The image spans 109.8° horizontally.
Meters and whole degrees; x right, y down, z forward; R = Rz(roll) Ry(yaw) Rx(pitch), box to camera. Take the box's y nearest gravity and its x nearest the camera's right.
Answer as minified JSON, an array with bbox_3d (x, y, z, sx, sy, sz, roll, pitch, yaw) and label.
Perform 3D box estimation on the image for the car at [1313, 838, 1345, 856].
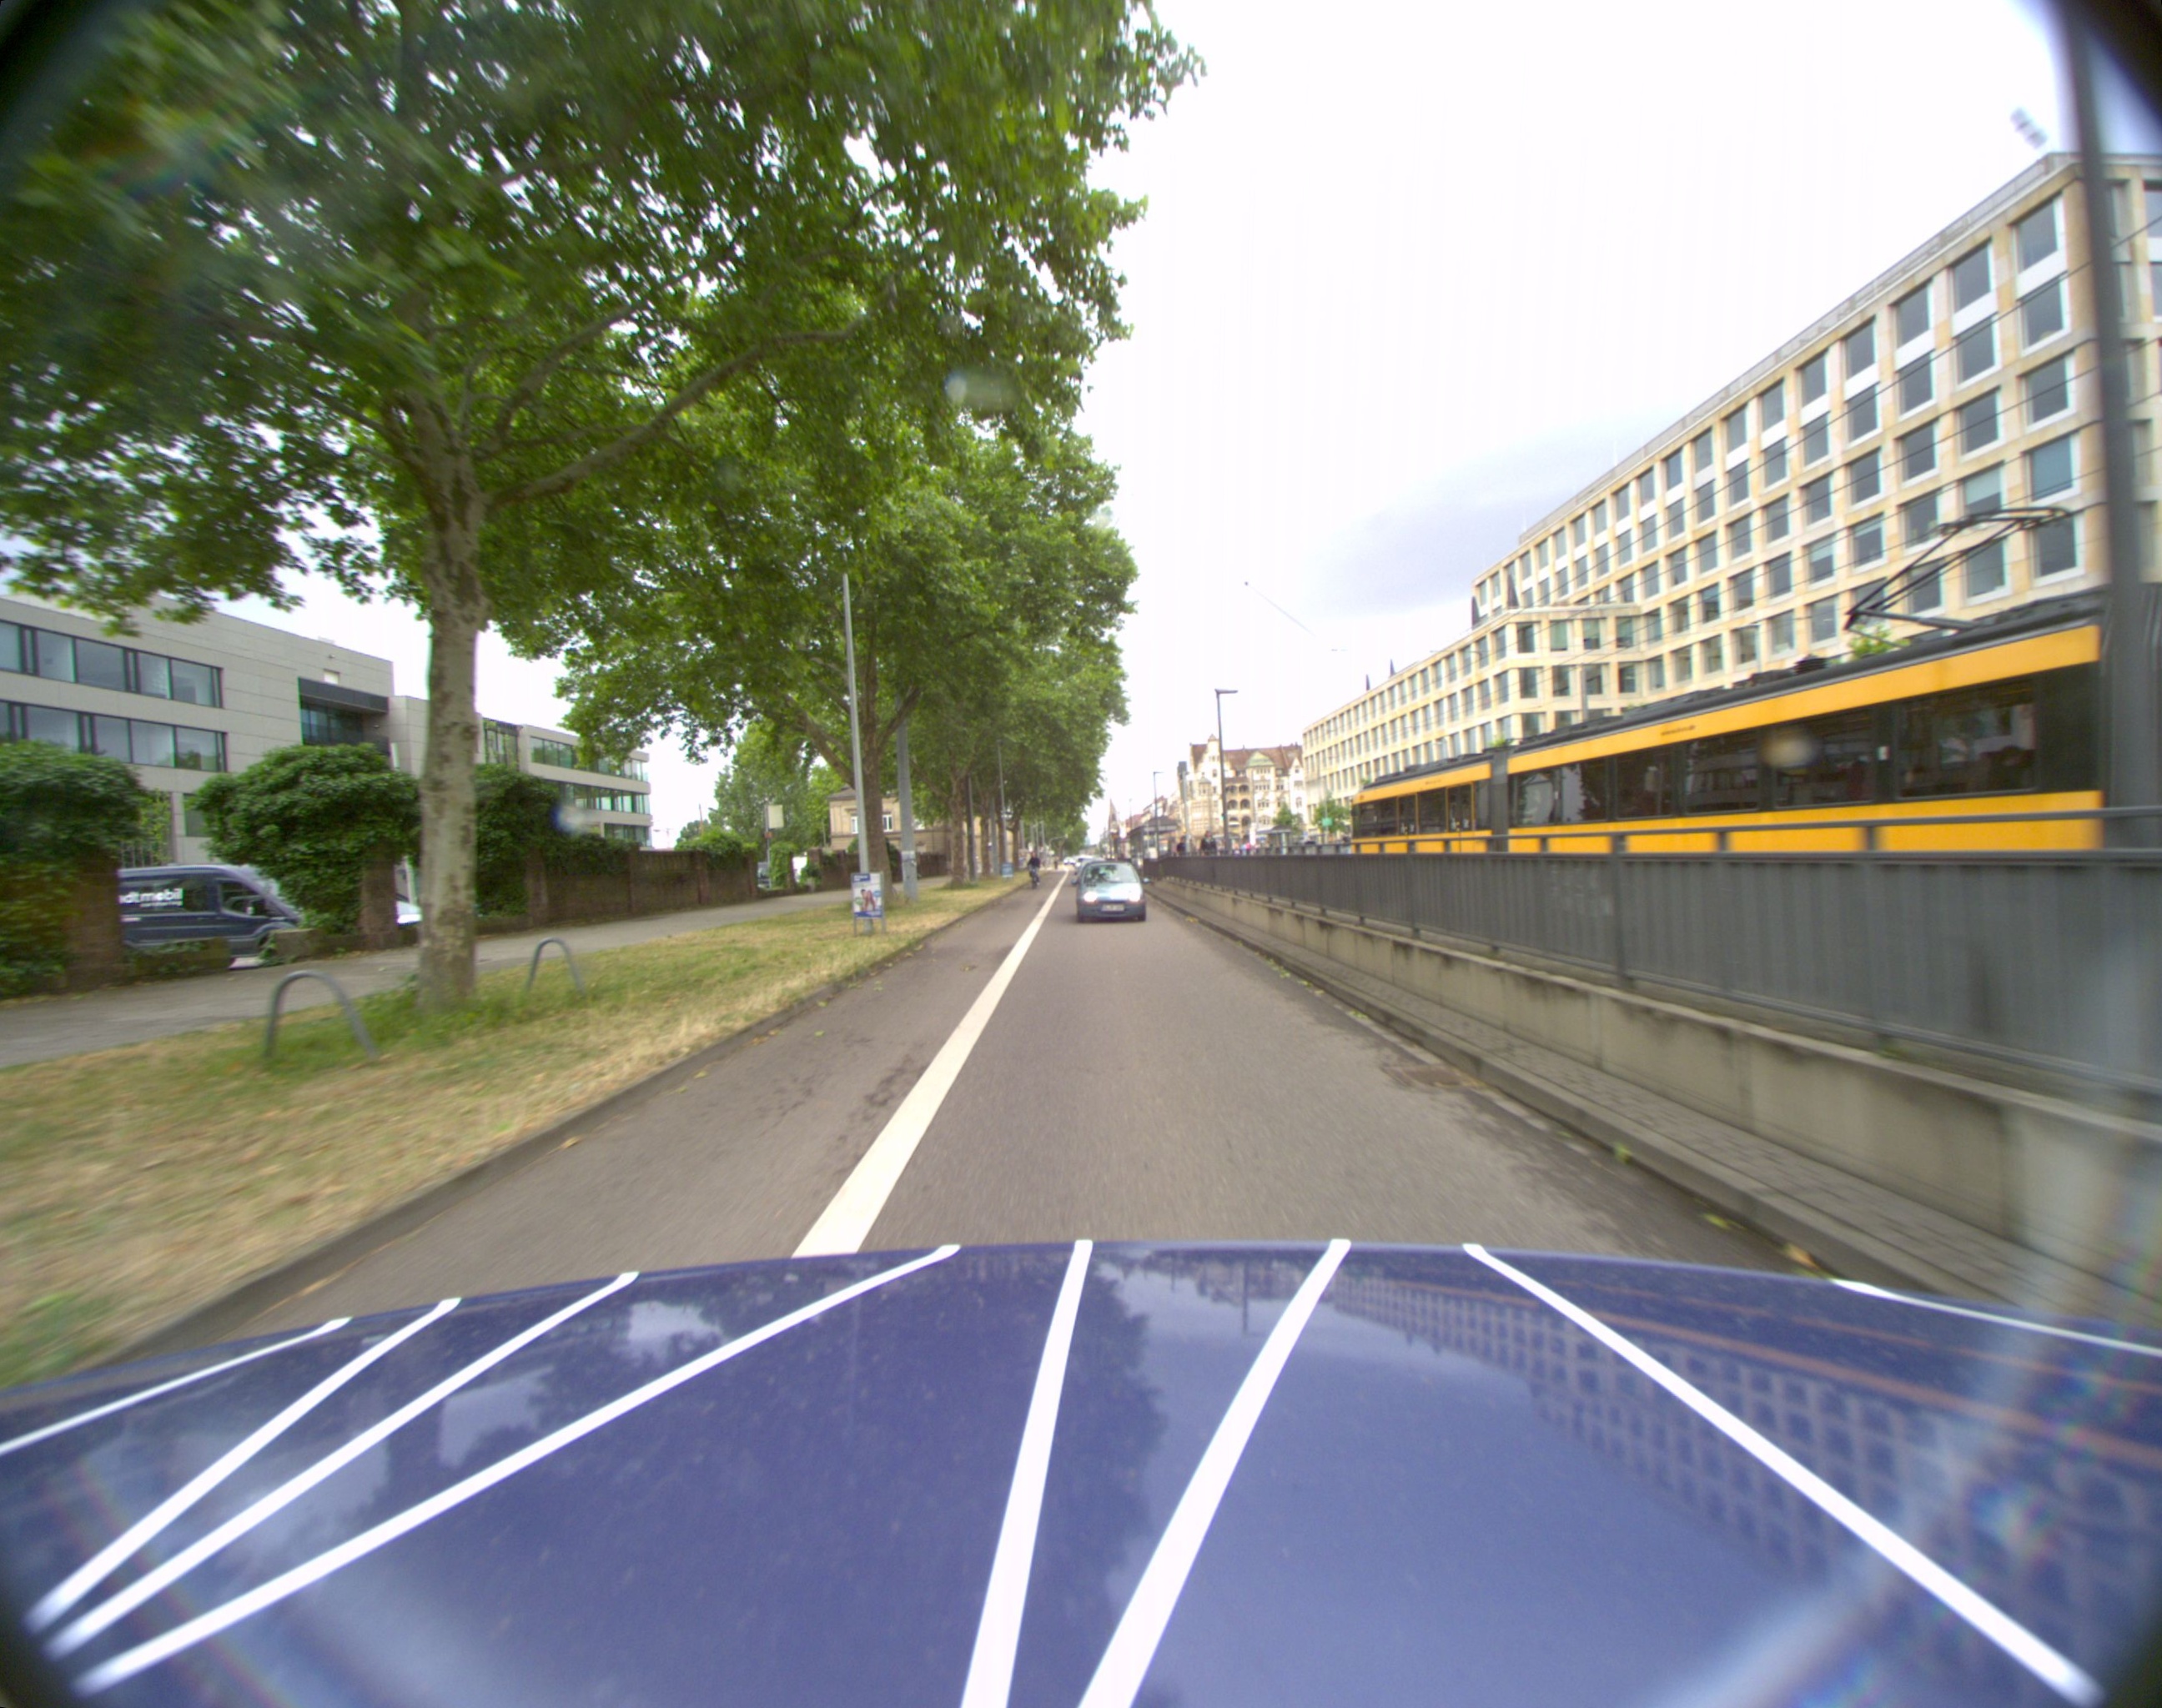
[{"bbox_3d":[24.949,-0.698,76.512,1.998,1.652,4.000,-3,1,2],"label":"car"}]

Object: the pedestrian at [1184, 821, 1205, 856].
[{"bbox_3d":[6.010,-0.811,40.327,0.672,1.783,1.112,-3,1,-13],"label":"pedestrian"}]

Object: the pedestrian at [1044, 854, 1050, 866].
[{"bbox_3d":[-4.762,0.829,105.696,0.552,1.520,0.639,-3,1,17],"label":"pedestrian"}]

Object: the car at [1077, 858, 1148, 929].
[{"bbox_3d":[0.751,0.892,18.707,1.534,1.464,3.353,-2,1,1],"label":"car"}]

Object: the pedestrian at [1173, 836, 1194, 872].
[{"bbox_3d":[5.273,0.000,39.074,0.672,1.783,1.112,-3,1,-8],"label":"pedestrian"}]

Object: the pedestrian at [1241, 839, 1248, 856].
[{"bbox_3d":[15.538,-0.663,72.399,0.536,1.598,0.565,-3,1,7],"label":"pedestrian"}]

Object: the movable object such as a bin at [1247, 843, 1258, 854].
[{"bbox_3d":[16.086,-0.499,71.099,0.622,1.015,0.721,-4,1,-33],"label":"movable object such as a bin"}]

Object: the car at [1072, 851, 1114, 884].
[{"bbox_3d":[0.590,0.659,39.177,1.998,1.443,4.099,-3,1,0],"label":"car"}]

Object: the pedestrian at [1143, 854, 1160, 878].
[{"bbox_3d":[3.946,0.667,42.440,0.837,1.296,0.613,-3,1,-1],"label":"pedestrian"}]

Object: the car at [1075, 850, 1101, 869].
[{"bbox_3d":[0.586,0.428,64.176,1.998,1.443,4.099,-3,1,0],"label":"car"}]

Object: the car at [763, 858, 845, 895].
[{"bbox_3d":[-17.488,1.394,48.121,4.359,2.002,1.999,-3,1,-2],"label":"car"}]

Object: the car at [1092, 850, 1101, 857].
[{"bbox_3d":[3.465,-0.123,170.330,1.869,1.630,3.774,-3,1,-2],"label":"car"}]

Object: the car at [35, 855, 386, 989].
[{"bbox_3d":[-19.741,1.464,17.464,5.246,2.408,2.074,-5,1,-2],"label":"car"}]

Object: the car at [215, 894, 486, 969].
[{"bbox_3d":[-19.483,2.026,20.475,5.109,1.403,2.003,-4,1,-2],"label":"car"}]

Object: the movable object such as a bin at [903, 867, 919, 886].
[{"bbox_3d":[-10.890,1.441,48.739,0.613,1.106,1.015,-3,0,6],"label":"movable object such as a bin"}]

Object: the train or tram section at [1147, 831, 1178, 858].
[{"bbox_3d":[12.168,-1.505,114.678,2.862,3.671,13.517,-3,1,-1],"label":"train or tram section"}]

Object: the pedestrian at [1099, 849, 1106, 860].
[{"bbox_3d":[3.326,0.126,116.394,0.862,1.633,0.651,-4,2,-42],"label":"pedestrian"}]

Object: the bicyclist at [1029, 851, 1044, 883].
[{"bbox_3d":[-2.170,0.620,37.391,0.642,1.522,0.664,-3,1,-2],"label":"bicyclist"}]

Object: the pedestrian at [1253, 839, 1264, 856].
[{"bbox_3d":[16.660,-0.585,71.328,0.580,1.598,0.655,-4,2,-33],"label":"pedestrian"}]

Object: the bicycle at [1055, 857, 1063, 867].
[{"bbox_3d":[-2.654,0.924,91.204,0.815,1.163,2.276,-3,1,-2],"label":"bicycle"}]

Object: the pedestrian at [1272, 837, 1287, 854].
[{"bbox_3d":[17.403,-0.748,66.588,1.040,1.364,0.939,-3,1,3],"label":"pedestrian"}]

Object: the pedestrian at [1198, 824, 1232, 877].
[{"bbox_3d":[5.244,-0.136,29.760,1.061,2.002,0.840,-3,1,0],"label":"pedestrian"}]

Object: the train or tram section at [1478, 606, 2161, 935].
[{"bbox_3d":[12.320,-1.102,14.817,3.171,3.840,11.309,-3,1,0],"label":"train or tram section"}]

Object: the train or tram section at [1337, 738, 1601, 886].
[{"bbox_3d":[12.398,-1.216,26.181,3.245,3.840,11.309,-3,1,0],"label":"train or tram section"}]

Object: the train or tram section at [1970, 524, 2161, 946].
[{"bbox_3d":[12.233,-1.164,2.277,3.188,4.155,13.618,-3,1,0],"label":"train or tram section"}]

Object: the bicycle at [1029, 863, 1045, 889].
[{"bbox_3d":[-2.153,1.059,37.485,0.654,1.143,2.282,-3,1,-2],"label":"bicycle"}]

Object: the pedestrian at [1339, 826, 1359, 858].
[{"bbox_3d":[15.901,-0.712,45.140,0.713,1.785,1.160,-3,1,-1],"label":"pedestrian"}]

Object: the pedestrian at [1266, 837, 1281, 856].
[{"bbox_3d":[17.321,-0.694,68.326,1.040,1.676,0.939,-3,1,3],"label":"pedestrian"}]

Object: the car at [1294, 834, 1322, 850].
[{"bbox_3d":[26.245,-1.375,87.977,1.998,1.652,4.000,-3,1,2],"label":"car"}]

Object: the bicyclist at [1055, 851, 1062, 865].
[{"bbox_3d":[-2.681,0.508,91.211,0.812,1.591,1.189,-3,1,-2],"label":"bicyclist"}]
